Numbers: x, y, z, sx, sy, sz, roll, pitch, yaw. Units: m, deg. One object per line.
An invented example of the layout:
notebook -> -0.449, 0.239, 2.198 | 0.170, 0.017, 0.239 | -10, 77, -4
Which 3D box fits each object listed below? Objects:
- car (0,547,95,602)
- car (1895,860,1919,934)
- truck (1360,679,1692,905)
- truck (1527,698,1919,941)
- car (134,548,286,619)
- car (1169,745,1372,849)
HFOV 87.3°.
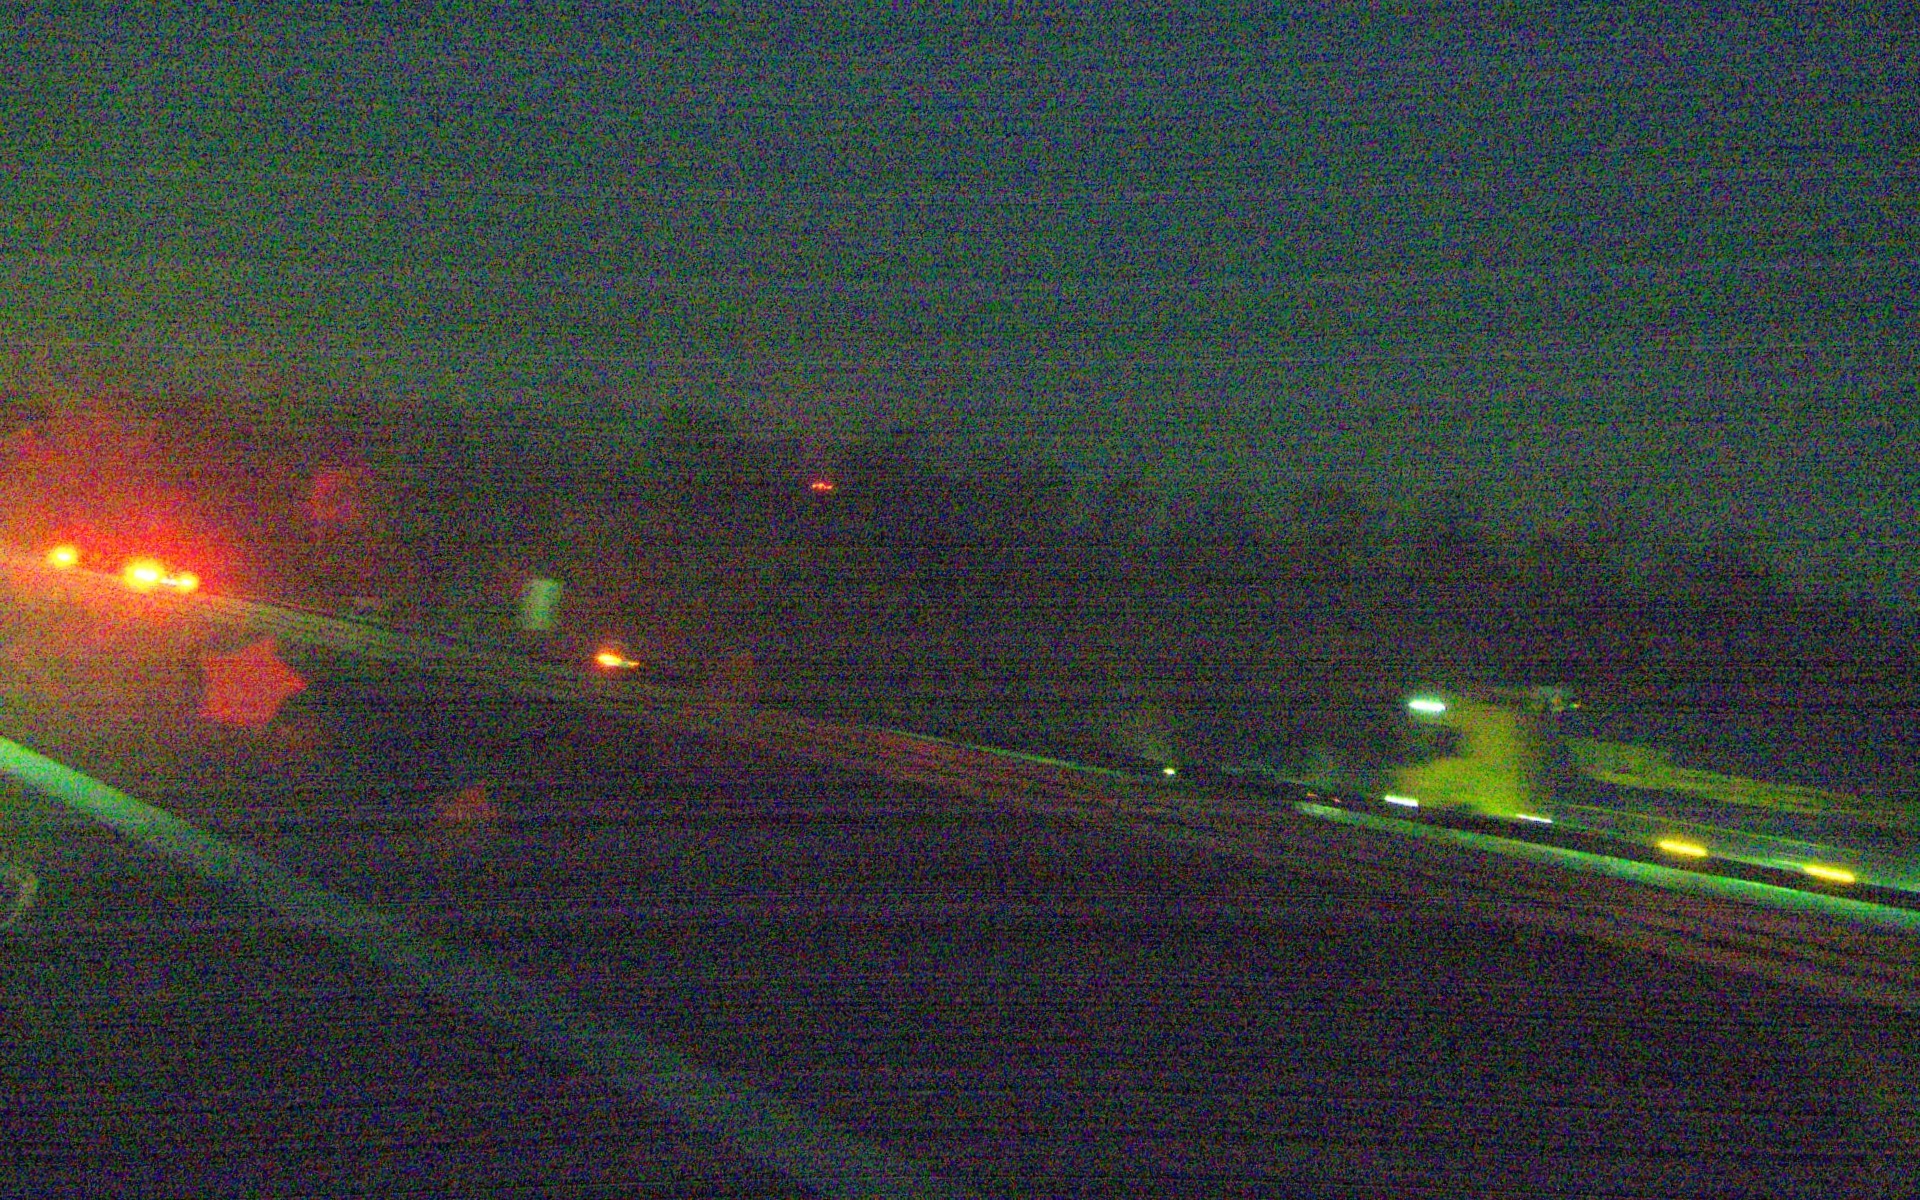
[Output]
car -> -35.345, -1.043, 38.356 | 3.969, 1.512, 1.729 | 7, -5, 21
car -> 20.475, 6.075, 18.825 | 3.915, 1.309, 1.715 | 9, -1, 14
truck -> 13.329, 4.410, 24.240 | 6.076, 4.271, 2.771 | 6, -2, 11
truck -> 20.862, 5.196, 22.670 | 13.562, 4.271, 2.771 | 6, -2, 12
car -> -22.781, -0.519, 30.547 | 4.261, 1.463, 2.001 | 6, -5, 29
car -> 6.635, 4.208, 21.881 | 3.915, 1.309, 1.715 | 9, -1, 13
